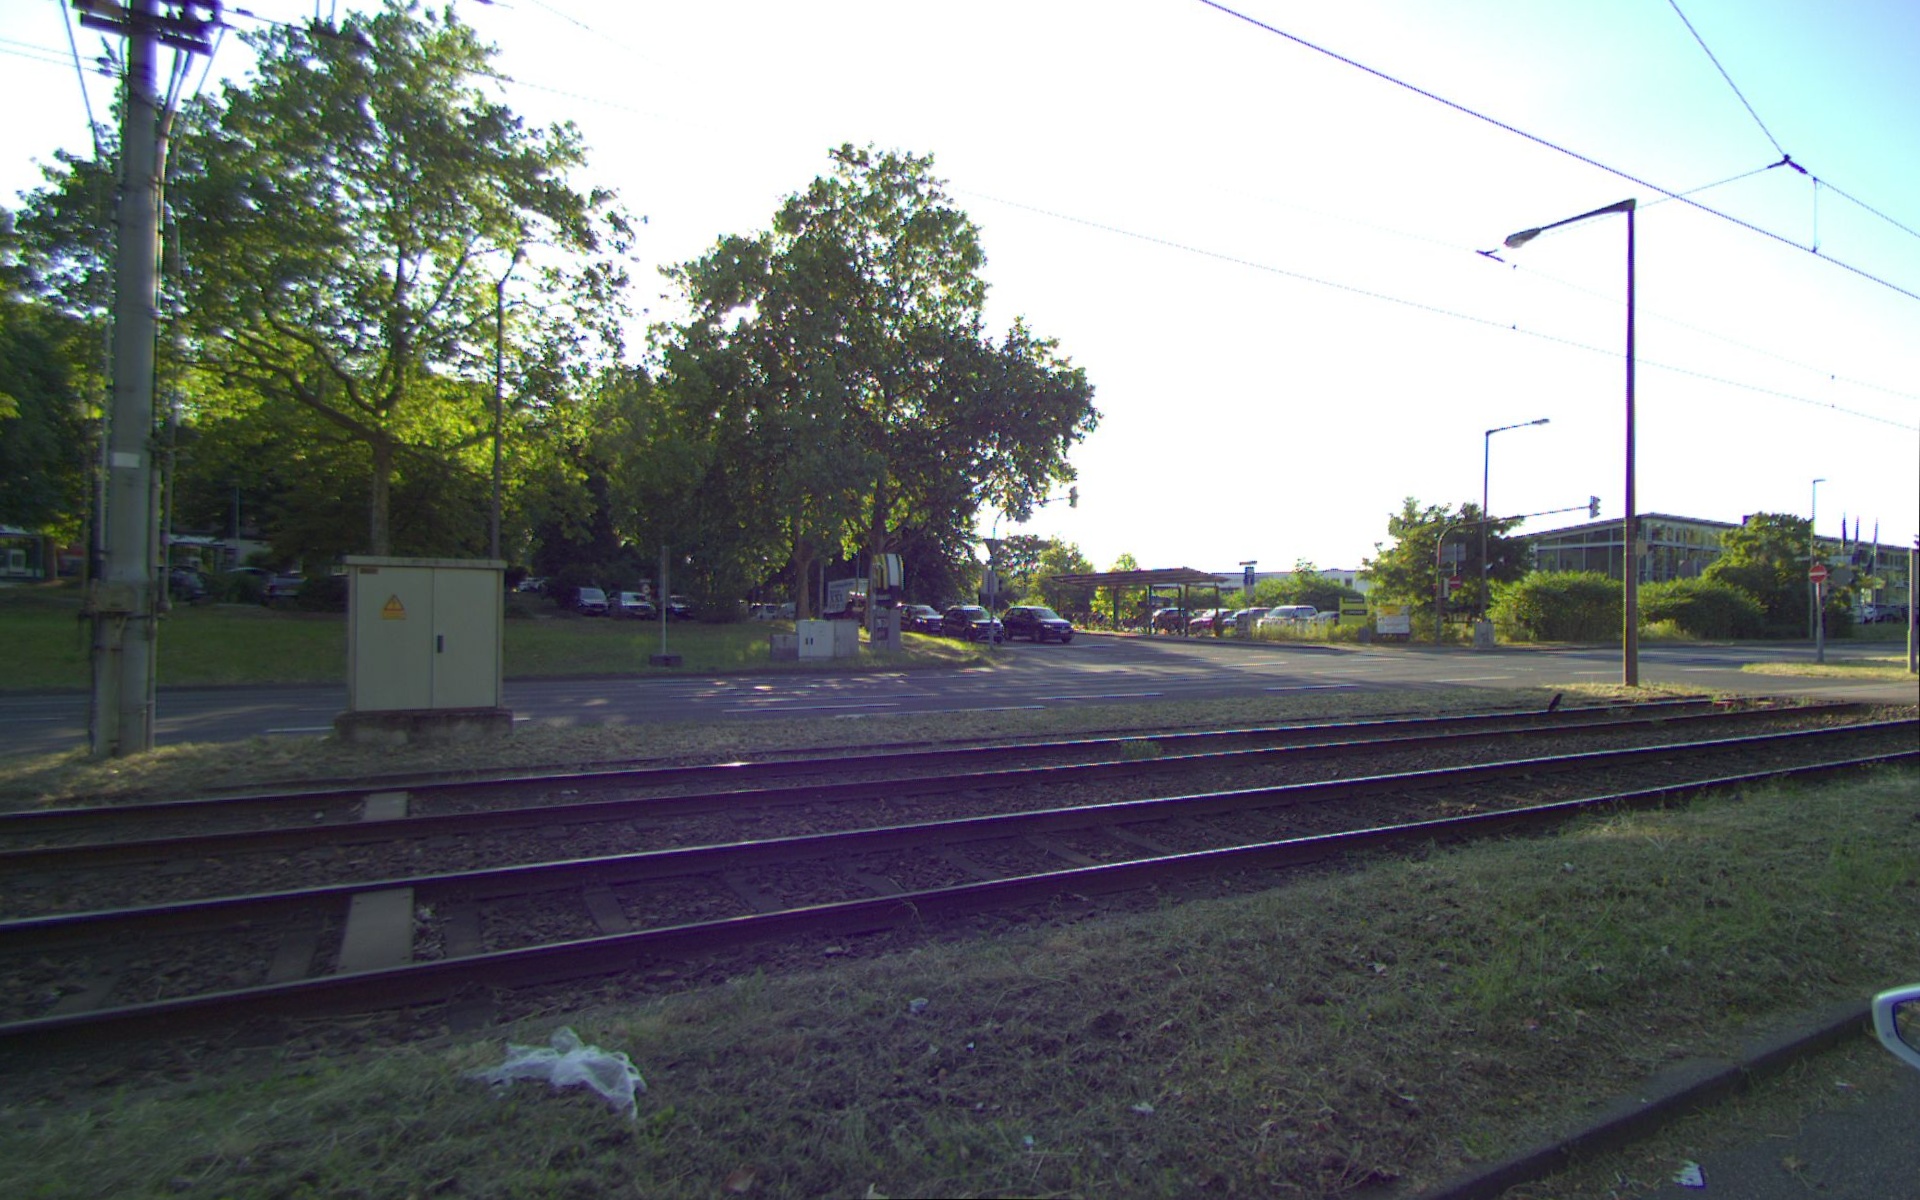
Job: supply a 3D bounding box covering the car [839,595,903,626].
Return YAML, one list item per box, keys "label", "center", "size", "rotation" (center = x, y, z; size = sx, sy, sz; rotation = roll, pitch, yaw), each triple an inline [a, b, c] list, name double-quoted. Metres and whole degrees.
- label: "car"
  center: [-5.127, 0.594, 57.170]
  size: [1.824, 1.657, 4.271]
  rotation: [1, 0, -34]

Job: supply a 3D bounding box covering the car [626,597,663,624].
- label: "car"
  center: [-20.173, 0.660, 64.141]
  size: [1.836, 1.637, 4.036]
  rotation: [2, 0, -23]

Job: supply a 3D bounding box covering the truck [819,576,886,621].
- label: "truck"
  center: [-9.041, -0.157, 83.360]
  size: [2.782, 3.520, 8.293]
  rotation: [0, 0, -27]

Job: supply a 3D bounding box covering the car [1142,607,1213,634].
- label: "car"
  center: [13.683, 1.255, 63.199]
  size: [4.122, 1.604, 1.969]
  rotation: [1, 0, -30]

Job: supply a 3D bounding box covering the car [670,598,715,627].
- label: "car"
  center: [-14.529, 0.661, 54.525]
  size: [1.604, 1.477, 3.878]
  rotation: [2, 0, -26]

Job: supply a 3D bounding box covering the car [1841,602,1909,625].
- label: "car"
  center: [74.444, 1.088, 81.795]
  size: [3.940, 1.840, 1.735]
  rotation: [1, 0, 41]

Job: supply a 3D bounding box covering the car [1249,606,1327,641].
- label: "car"
  center: [18.284, 1.278, 55.911]
  size: [4.122, 1.846, 1.853]
  rotation: [0, 0, -30]

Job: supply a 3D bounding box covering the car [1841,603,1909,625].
- label: "car"
  center: [72.796, 1.102, 79.994]
  size: [3.940, 1.727, 1.735]
  rotation: [1, 0, 41]

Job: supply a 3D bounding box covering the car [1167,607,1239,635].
- label: "car"
  center: [14.774, 1.246, 60.997]
  size: [4.122, 1.604, 1.853]
  rotation: [1, 0, -30]

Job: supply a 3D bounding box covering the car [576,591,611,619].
- label: "car"
  center: [-22.618, 0.297, 61.933]
  size: [1.836, 1.637, 4.036]
  rotation: [2, 0, -23]

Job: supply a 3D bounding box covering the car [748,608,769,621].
- label: "car"
  center: [-25.974, 1.822, 129.318]
  size: [1.887, 1.602, 4.036]
  rotation: [2, 0, -21]

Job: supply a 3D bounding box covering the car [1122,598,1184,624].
- label: "car"
  center: [15.356, 0.862, 79.859]
  size: [4.714, 2.041, 1.853]
  rotation: [0, 1, -30]

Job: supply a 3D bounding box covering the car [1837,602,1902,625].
- label: "car"
  center: [75.565, 1.099, 83.507]
  size: [3.940, 1.840, 1.735]
  rotation: [1, 0, 41]

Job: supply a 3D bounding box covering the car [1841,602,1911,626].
- label: "car"
  center: [71.238, 1.063, 78.204]
  size: [3.940, 1.727, 1.735]
  rotation: [1, 0, 41]

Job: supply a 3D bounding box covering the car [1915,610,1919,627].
- label: "car"
  center: [91.064, 1.762, 92.709]
  size: [1.726, 1.577, 3.961]
  rotation: [1, 0, -35]

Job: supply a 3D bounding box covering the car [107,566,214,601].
- label: "car"
  center: [-38.047, -0.759, 47.927]
  size: [3.677, 1.482, 1.663]
  rotation: [3, -1, -27]

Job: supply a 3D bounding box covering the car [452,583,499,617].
- label: "car"
  center: [-23.561, -0.021, 48.882]
  size: [1.915, 1.530, 4.072]
  rotation: [2, 0, -26]

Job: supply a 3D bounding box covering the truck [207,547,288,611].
- label: "truck"
  center: [-38.611, -1.068, 54.605]
  size: [2.468, 3.209, 6.188]
  rotation: [2, 0, -25]

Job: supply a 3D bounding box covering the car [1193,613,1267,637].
- label: "car"
  center: [15.881, 1.446, 59.059]
  size: [4.122, 1.284, 1.853]
  rotation: [1, 0, -30]

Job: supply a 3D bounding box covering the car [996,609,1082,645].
- label: "car"
  center: [3.717, 1.249, 48.013]
  size: [1.858, 1.656, 4.330]
  rotation: [0, 0, -33]

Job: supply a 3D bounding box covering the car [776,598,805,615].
- label: "car"
  center: [-16.584, 0.652, 98.233]
  size: [1.711, 1.603, 4.029]
  rotation: [0, 0, -27]

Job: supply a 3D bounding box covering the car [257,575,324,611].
- label: "car"
  center: [-30.238, -0.314, 45.507]
  size: [1.915, 1.530, 4.072]
  rotation: [2, 0, -26]

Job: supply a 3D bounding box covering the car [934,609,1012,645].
- label: "car"
  center: [0.558, 1.242, 46.518]
  size: [1.738, 1.578, 3.937]
  rotation: [1, -2, -33]

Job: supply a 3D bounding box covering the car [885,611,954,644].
- label: "car"
  center: [-2.147, 1.383, 51.621]
  size: [1.717, 1.565, 4.298]
  rotation: [-1, 0, -30]

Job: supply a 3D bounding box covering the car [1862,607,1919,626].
- label: "car"
  center: [80.320, 1.400, 86.386]
  size: [3.940, 1.577, 1.735]
  rotation: [1, 0, 41]

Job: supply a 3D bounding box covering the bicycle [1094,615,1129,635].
- label: "bicycle"
  center: [9.015, 1.471, 59.649]
  size: [2.004, 1.119, 0.777]
  rotation: [2, 0, -30]

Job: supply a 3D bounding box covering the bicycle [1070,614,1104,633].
- label: "bicycle"
  center: [7.890, 1.450, 62.292]
  size: [2.004, 1.119, 0.777]
  rotation: [2, 0, -30]

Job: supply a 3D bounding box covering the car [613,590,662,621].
- label: "car"
  center: [-17.036, 0.266, 52.991]
  size: [1.915, 1.530, 4.072]
  rotation: [2, 0, -26]

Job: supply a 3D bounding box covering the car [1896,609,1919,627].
- label: "car"
  center: [87.908, 1.659, 91.237]
  size: [1.728, 1.577, 3.957]
  rotation: [1, 0, -37]

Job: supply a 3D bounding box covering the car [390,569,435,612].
- label: "car"
  center: [-31.374, -0.523, 57.501]
  size: [2.138, 2.334, 4.370]
  rotation: [2, 0, -30]

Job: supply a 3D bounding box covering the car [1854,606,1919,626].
- label: "car"
  center: [78.089, 1.319, 84.733]
  size: [3.940, 1.577, 1.735]
  rotation: [1, 0, 41]
